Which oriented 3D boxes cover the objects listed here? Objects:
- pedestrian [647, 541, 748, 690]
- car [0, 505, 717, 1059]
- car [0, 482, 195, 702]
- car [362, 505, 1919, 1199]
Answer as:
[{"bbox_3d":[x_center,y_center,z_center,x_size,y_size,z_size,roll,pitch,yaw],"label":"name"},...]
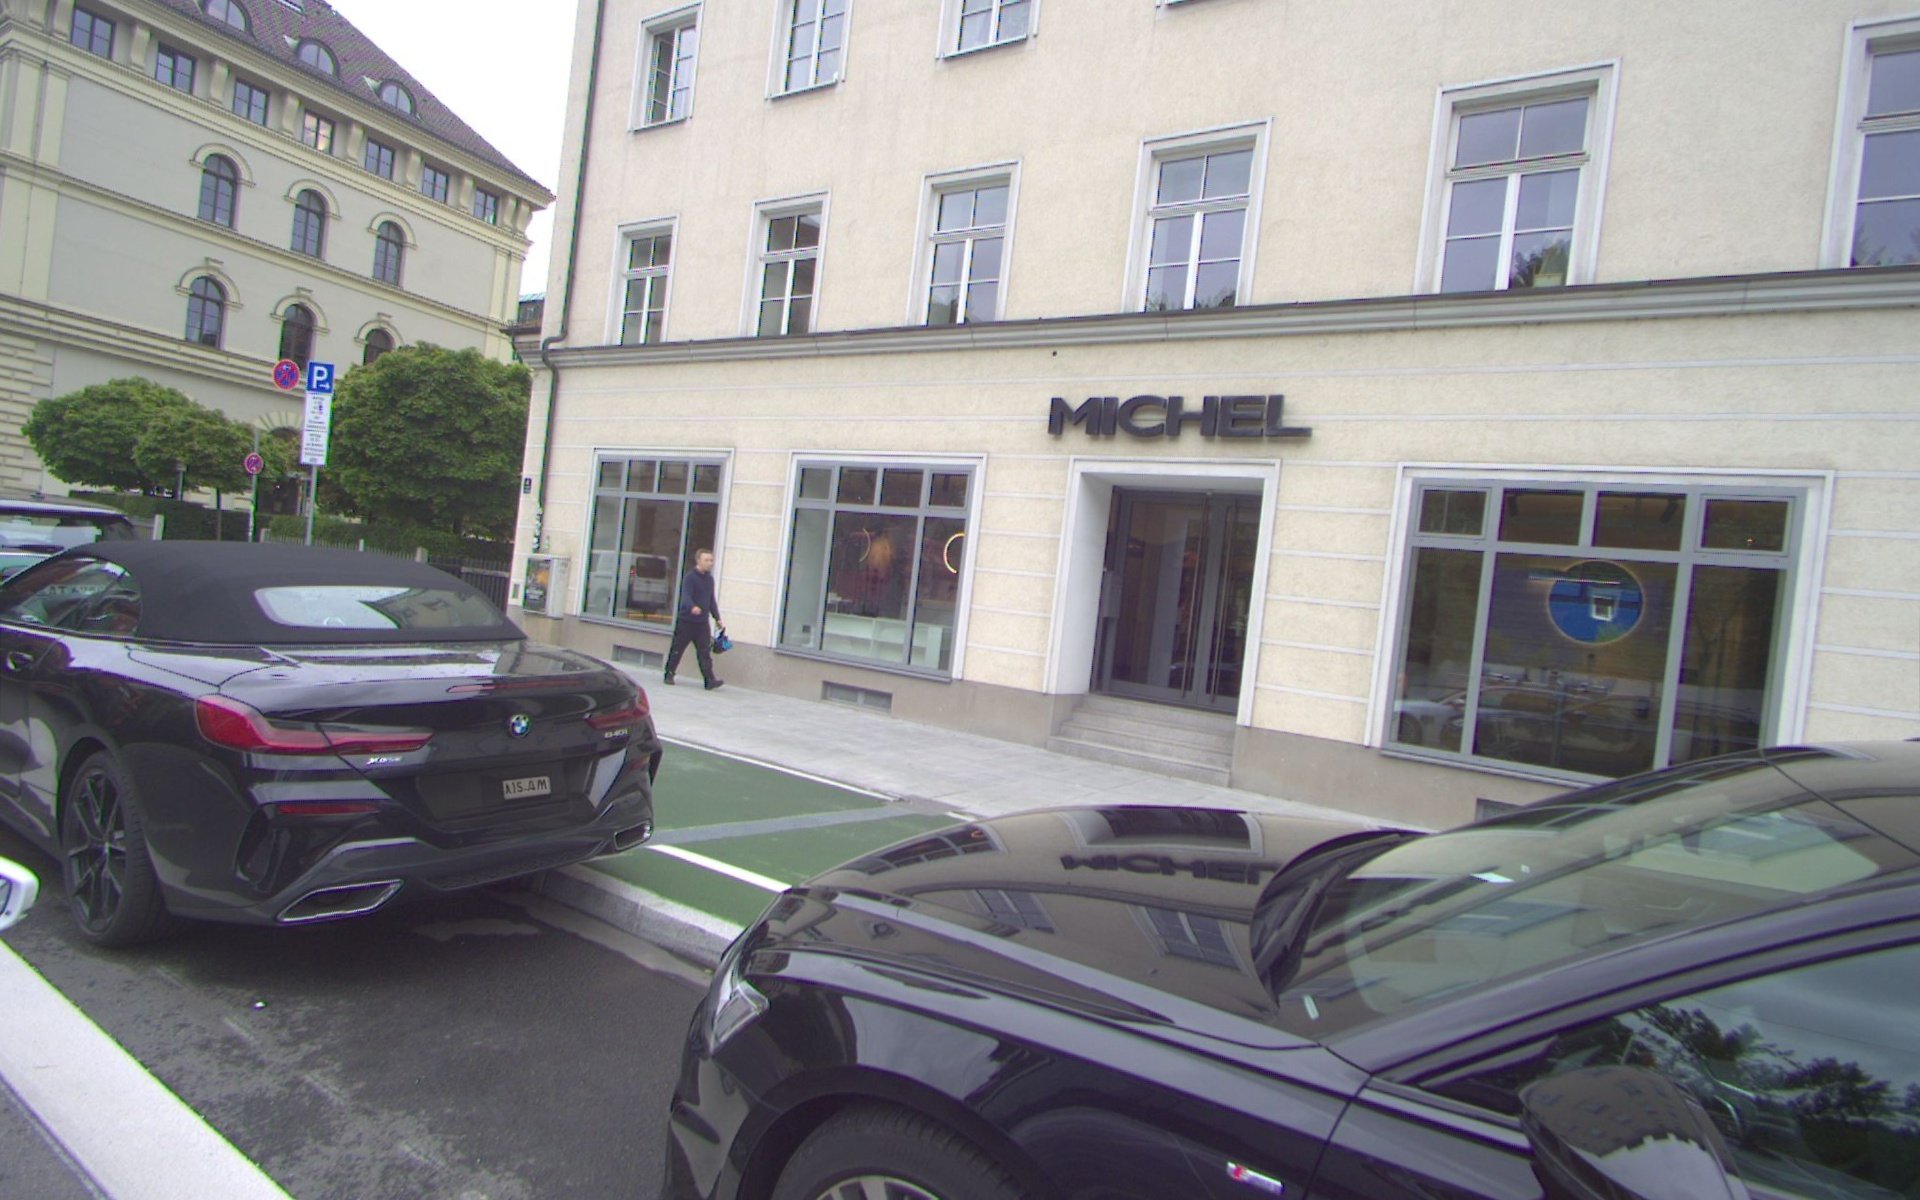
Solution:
[{"bbox_3d":[-3.486,0.212,13.371,0.764,1.859,0.791,8,1,33],"label":"pedestrian"},{"bbox_3d":[-3.362,0.425,4.671,4.353,1.403,1.682,7,0,32],"label":"car"},{"bbox_3d":[-7.868,-0.197,8.061,3.368,1.514,1.612,7,0,32],"label":"car"},{"bbox_3d":[1.263,0.869,1.732,4.607,1.497,1.805,7,-1,30],"label":"car"}]
